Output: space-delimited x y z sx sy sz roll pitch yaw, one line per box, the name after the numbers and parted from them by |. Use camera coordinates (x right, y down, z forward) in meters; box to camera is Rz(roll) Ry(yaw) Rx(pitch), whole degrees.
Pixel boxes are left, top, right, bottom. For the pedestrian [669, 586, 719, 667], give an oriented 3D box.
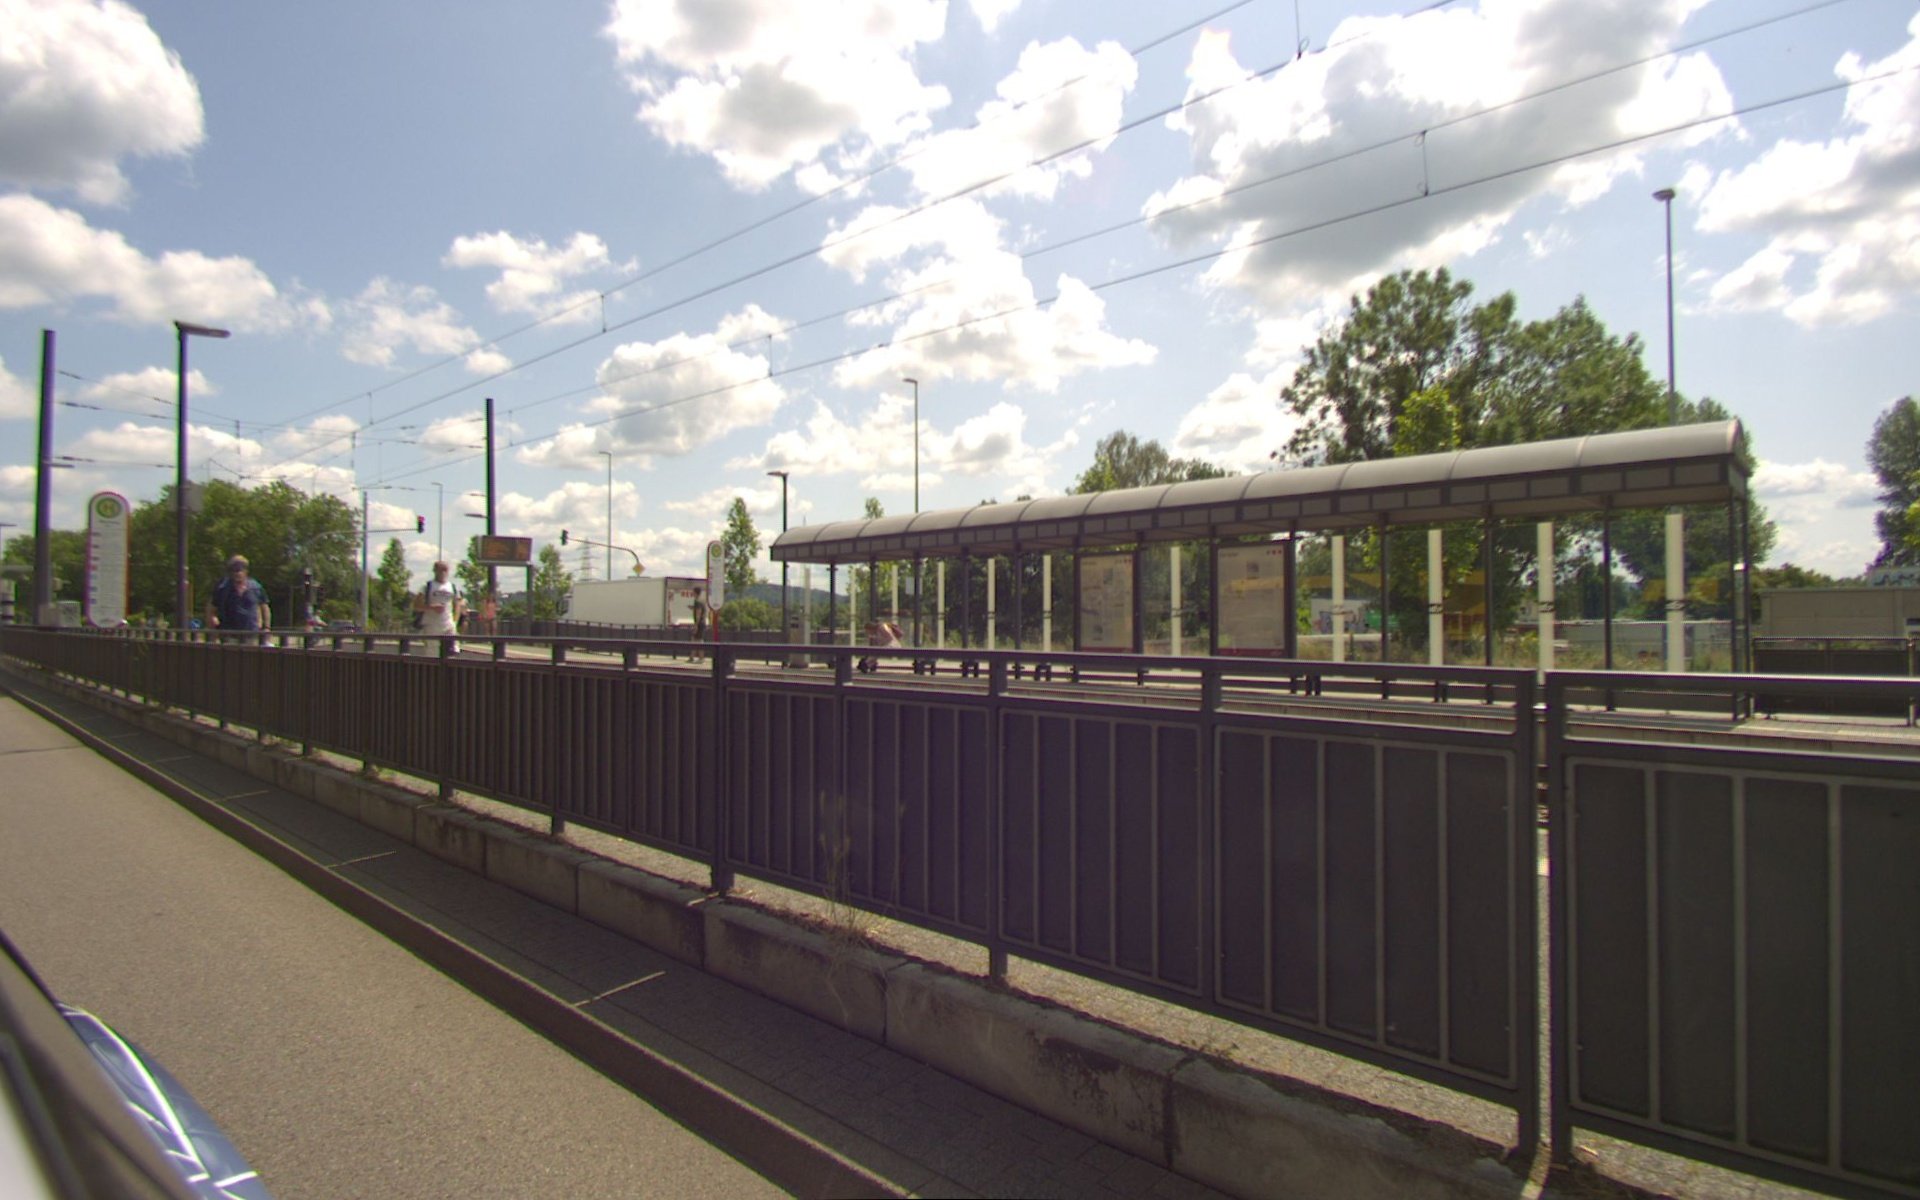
-6.135 0.606 23.314 0.930 1.821 0.725 -2 -1 44 | pedestrian

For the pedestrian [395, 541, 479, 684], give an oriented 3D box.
-6.930 0.169 13.412 0.930 1.821 0.725 -2 -1 44 | pedestrian

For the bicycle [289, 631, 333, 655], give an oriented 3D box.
-30.908 2.031 48.207 1.696 1.096 0.621 0 -1 -44 | bicycle

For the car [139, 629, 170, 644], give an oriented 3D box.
-84.033 3.810 105.617 3.886 1.419 1.649 -2 -1 37 | car

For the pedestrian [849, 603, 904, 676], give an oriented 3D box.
-1.702 0.822 20.686 0.787 1.443 0.752 -2 -5 43 | pedestrian

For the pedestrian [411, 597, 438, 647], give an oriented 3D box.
-18.647 0.770 35.220 0.719 1.734 0.525 0 -2 -42 | pedestrian

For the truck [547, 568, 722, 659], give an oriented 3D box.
-16.820 0.757 51.503 11.996 4.136 2.911 -2 -1 43 | truck

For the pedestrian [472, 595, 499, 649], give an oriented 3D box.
-15.349 0.720 32.730 0.592 1.734 0.709 0 -2 -43 | pedestrian

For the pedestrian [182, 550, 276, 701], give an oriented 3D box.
-9.961 0.351 13.784 0.994 1.954 0.863 -3 -2 43 | pedestrian

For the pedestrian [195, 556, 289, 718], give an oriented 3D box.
-8.267 0.416 11.653 0.930 1.769 0.725 -2 -1 44 | pedestrian

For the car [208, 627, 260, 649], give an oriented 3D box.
-63.409 3.309 88.372 4.644 1.787 1.867 -2 -2 28 | car

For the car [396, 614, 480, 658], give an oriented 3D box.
-23.179 1.604 44.855 4.668 1.834 1.971 -3 -2 45 | car

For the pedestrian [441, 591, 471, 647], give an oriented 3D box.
-16.074 0.611 32.277 0.627 1.761 0.679 -2 0 -43 | pedestrian

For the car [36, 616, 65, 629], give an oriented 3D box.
-133.089 3.347 148.099 1.966 1.822 5.150 0 -2 -29 | car
